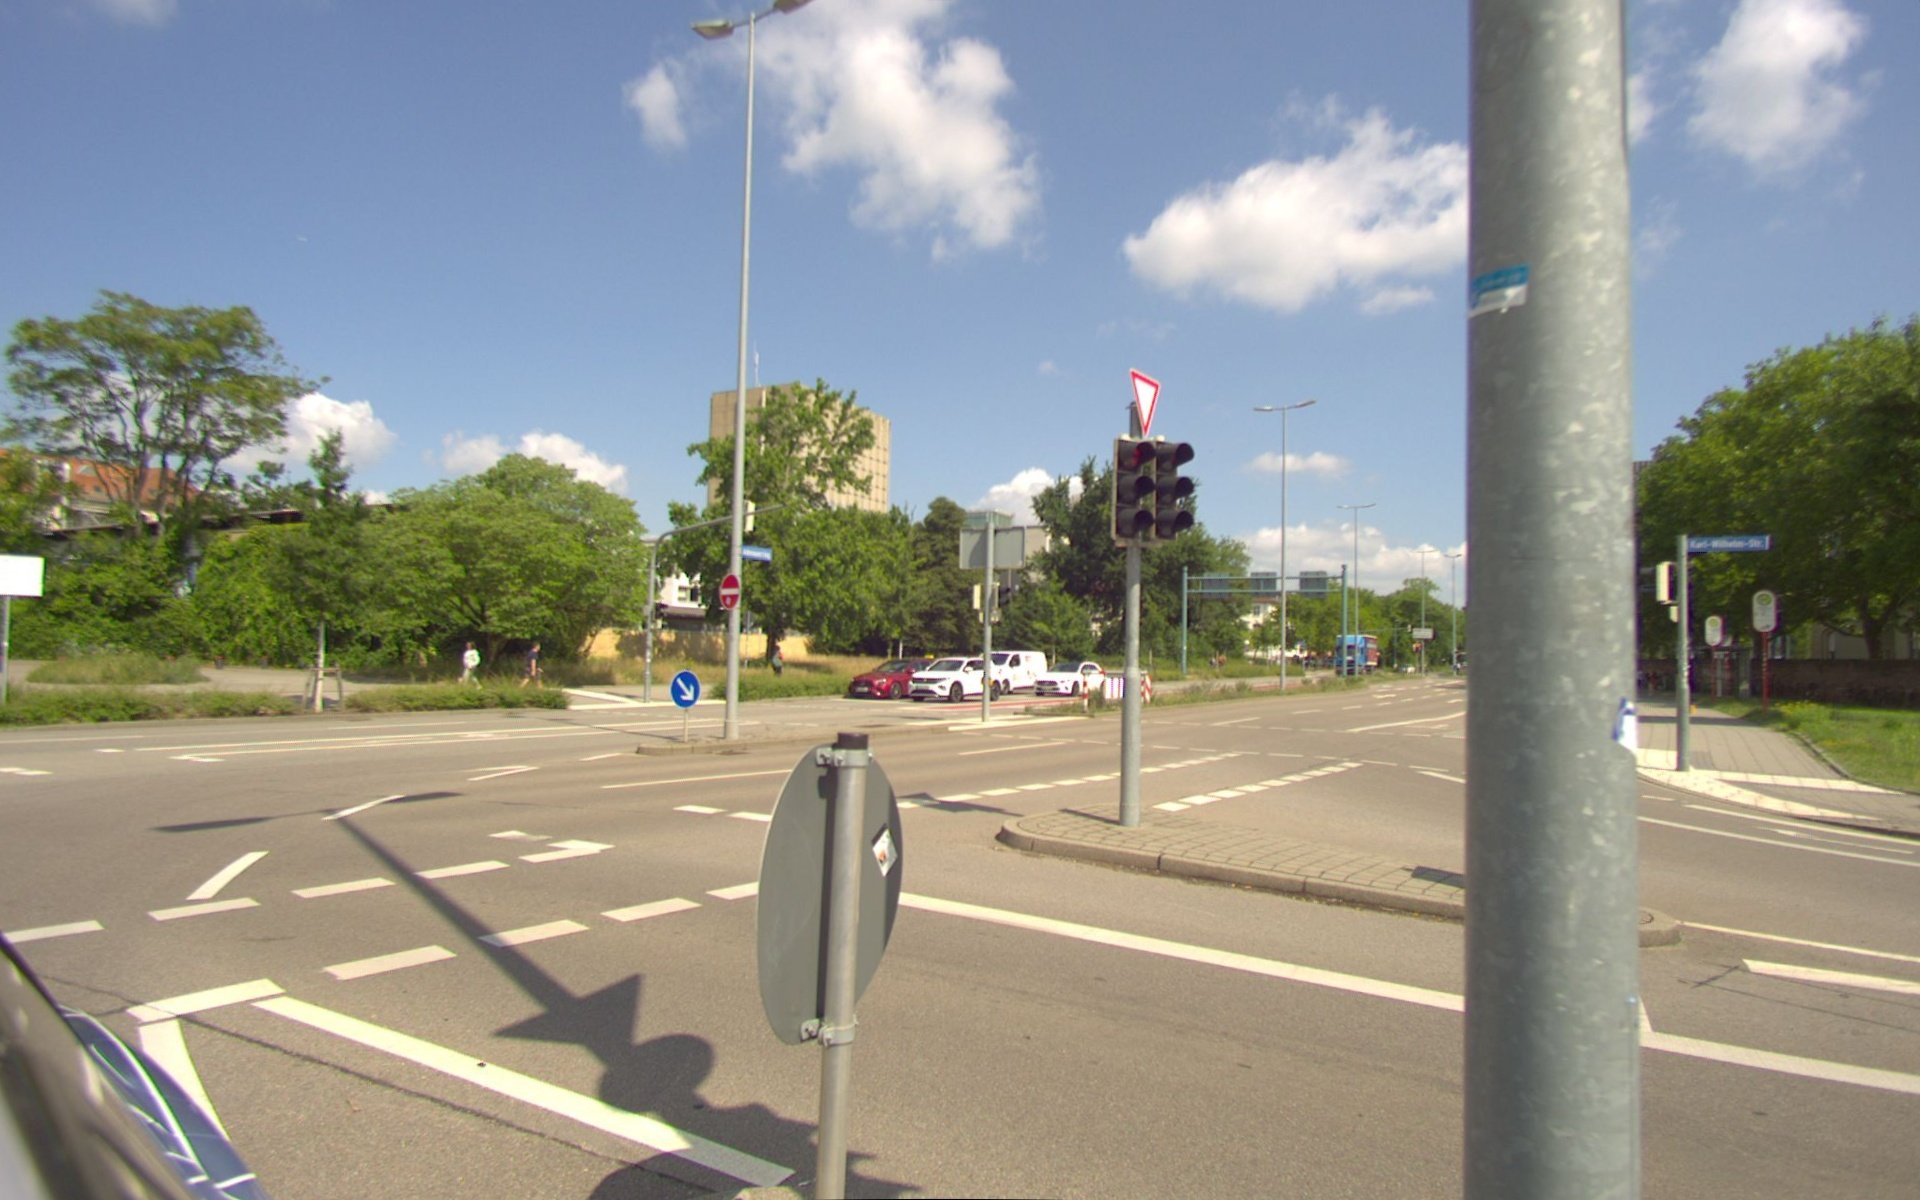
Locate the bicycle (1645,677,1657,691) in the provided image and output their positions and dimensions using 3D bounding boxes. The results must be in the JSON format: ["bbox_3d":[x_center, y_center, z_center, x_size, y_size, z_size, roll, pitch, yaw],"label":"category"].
[{"bbox_3d":[53.603,6.489,78.493,0.369,1.056,1.867,0,-4,22],"label":"bicycle"}]

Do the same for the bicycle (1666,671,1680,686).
[{"bbox_3d":[49.900,5.482,70.853,0.392,1.056,1.867,0,-4,22],"label":"bicycle"}]

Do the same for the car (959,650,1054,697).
[{"bbox_3d":[2.098,3.188,43.994,1.943,1.884,4.770,-1,-4,33],"label":"car"}]

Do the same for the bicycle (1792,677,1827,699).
[{"bbox_3d":[44.353,4.569,52.860,0.578,1.081,1.750,1,-3,10],"label":"bicycle"}]

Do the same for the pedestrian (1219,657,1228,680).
[{"bbox_3d":[21.841,5.677,83.983,0.567,1.815,0.632,-1,-4,32],"label":"pedestrian"}]

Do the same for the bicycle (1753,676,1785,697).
[{"bbox_3d":[45.175,4.830,56.533,0.578,1.081,1.750,1,-3,10],"label":"bicycle"}]

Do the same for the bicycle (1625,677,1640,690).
[{"bbox_3d":[55.655,6.915,83.765,0.627,1.056,1.867,0,-4,22],"label":"bicycle"}]

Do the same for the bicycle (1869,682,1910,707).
[{"bbox_3d":[43.117,4.391,46.964,0.578,1.081,1.626,1,-3,10],"label":"bicycle"}]

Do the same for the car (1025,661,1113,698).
[{"bbox_3d":[4.631,3.331,42.478,1.904,1.435,4.335,-1,-4,33],"label":"car"}]

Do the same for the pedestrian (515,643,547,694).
[{"bbox_3d":[-13.114,2.095,30.906,0.771,1.519,0.545,-2,-4,38],"label":"pedestrian"}]

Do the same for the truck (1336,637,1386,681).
[{"bbox_3d":[37.005,5.441,93.139,2.657,3.828,9.088,-1,-4,32],"label":"truck"}]

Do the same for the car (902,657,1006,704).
[{"bbox_3d":[-0.163,2.816,35.539,1.791,1.551,3.965,-3,-5,33],"label":"car"}]

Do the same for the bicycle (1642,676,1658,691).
[{"bbox_3d":[52.081,6.286,76.404,0.590,1.056,1.867,0,-4,22],"label":"bicycle"}]

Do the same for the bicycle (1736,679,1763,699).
[{"bbox_3d":[45.492,5.099,58.337,0.579,1.081,1.747,0,-4,15],"label":"bicycle"}]

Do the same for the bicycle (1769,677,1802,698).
[{"bbox_3d":[44.717,4.743,54.816,0.578,1.081,1.750,1,-3,10],"label":"bicycle"}]

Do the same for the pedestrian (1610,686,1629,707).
[{"bbox_3d":[30.959,4.517,47.514,0.694,0.970,0.735,-1,-4,31],"label":"pedestrian"}]

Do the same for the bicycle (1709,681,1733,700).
[{"bbox_3d":[46.895,5.555,62.381,0.579,1.081,1.746,0,-4,16],"label":"bicycle"}]

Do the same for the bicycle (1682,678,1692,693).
[{"bbox_3d":[47.113,5.527,65.556,0.367,0.962,1.602,-2,-5,40],"label":"bicycle"}]

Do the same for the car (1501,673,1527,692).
[{"bbox_3d":[45.645,6.747,83.314,1.700,1.456,4.101,1,-3,31],"label":"car"}]

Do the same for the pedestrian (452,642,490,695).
[{"bbox_3d":[-15.461,2.163,31.998,0.869,1.651,0.712,-1,-4,35],"label":"pedestrian"}]

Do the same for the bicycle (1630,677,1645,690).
[{"bbox_3d":[54.838,6.758,81.893,0.627,1.056,1.867,0,-4,22],"label":"bicycle"}]

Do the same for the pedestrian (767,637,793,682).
[{"bbox_3d":[-7.090,2.345,39.838,0.743,1.749,0.670,-1,-4,36],"label":"pedestrian"}]

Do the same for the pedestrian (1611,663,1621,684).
[{"bbox_3d":[52.390,5.878,80.817,0.559,1.664,0.720,0,-4,27],"label":"pedestrian"}]

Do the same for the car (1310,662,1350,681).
[{"bbox_3d":[42.627,8.159,116.482,3.989,2.029,1.977,0,-3,34],"label":"car"}]

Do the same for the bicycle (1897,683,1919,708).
[{"bbox_3d":[42.861,4.276,45.246,0.578,1.081,1.626,1,-3,10],"label":"bicycle"}]

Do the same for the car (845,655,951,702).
[{"bbox_3d":[-2.223,2.911,37.796,1.681,1.654,4.413,-1,-4,32],"label":"car"}]

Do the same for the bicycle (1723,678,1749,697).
[{"bbox_3d":[46.075,5.190,60.118,0.579,1.081,1.746,0,-4,16],"label":"bicycle"}]

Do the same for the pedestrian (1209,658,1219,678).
[{"bbox_3d":[21.201,5.675,84.323,0.623,1.593,0.700,-1,-4,32],"label":"pedestrian"}]

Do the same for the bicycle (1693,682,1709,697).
[{"bbox_3d":[48.121,5.820,65.704,0.364,0.962,1.394,0,-4,16],"label":"bicycle"}]

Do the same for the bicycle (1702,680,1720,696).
[{"bbox_3d":[47.686,5.583,64.269,0.368,0.962,1.618,0,-4,16],"label":"bicycle"}]

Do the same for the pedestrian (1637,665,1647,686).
[{"bbox_3d":[51.442,5.725,76.333,0.475,1.552,0.611,0,-4,27],"label":"pedestrian"}]

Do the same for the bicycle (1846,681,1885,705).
[{"bbox_3d":[43.478,4.469,48.615,0.578,1.081,1.626,1,-3,10],"label":"bicycle"}]

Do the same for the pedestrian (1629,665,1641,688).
[{"bbox_3d":[50.994,5.776,76.501,0.639,1.664,0.724,0,-4,27],"label":"pedestrian"}]

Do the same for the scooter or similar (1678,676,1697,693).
[{"bbox_3d":[48.656,5.646,67.701,0.578,1.056,1.867,0,-4,22],"label":"scooter or similar"}]

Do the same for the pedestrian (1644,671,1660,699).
[{"bbox_3d":[39.654,4.864,57.998,0.656,1.622,0.736,-2,-5,33],"label":"pedestrian"}]
